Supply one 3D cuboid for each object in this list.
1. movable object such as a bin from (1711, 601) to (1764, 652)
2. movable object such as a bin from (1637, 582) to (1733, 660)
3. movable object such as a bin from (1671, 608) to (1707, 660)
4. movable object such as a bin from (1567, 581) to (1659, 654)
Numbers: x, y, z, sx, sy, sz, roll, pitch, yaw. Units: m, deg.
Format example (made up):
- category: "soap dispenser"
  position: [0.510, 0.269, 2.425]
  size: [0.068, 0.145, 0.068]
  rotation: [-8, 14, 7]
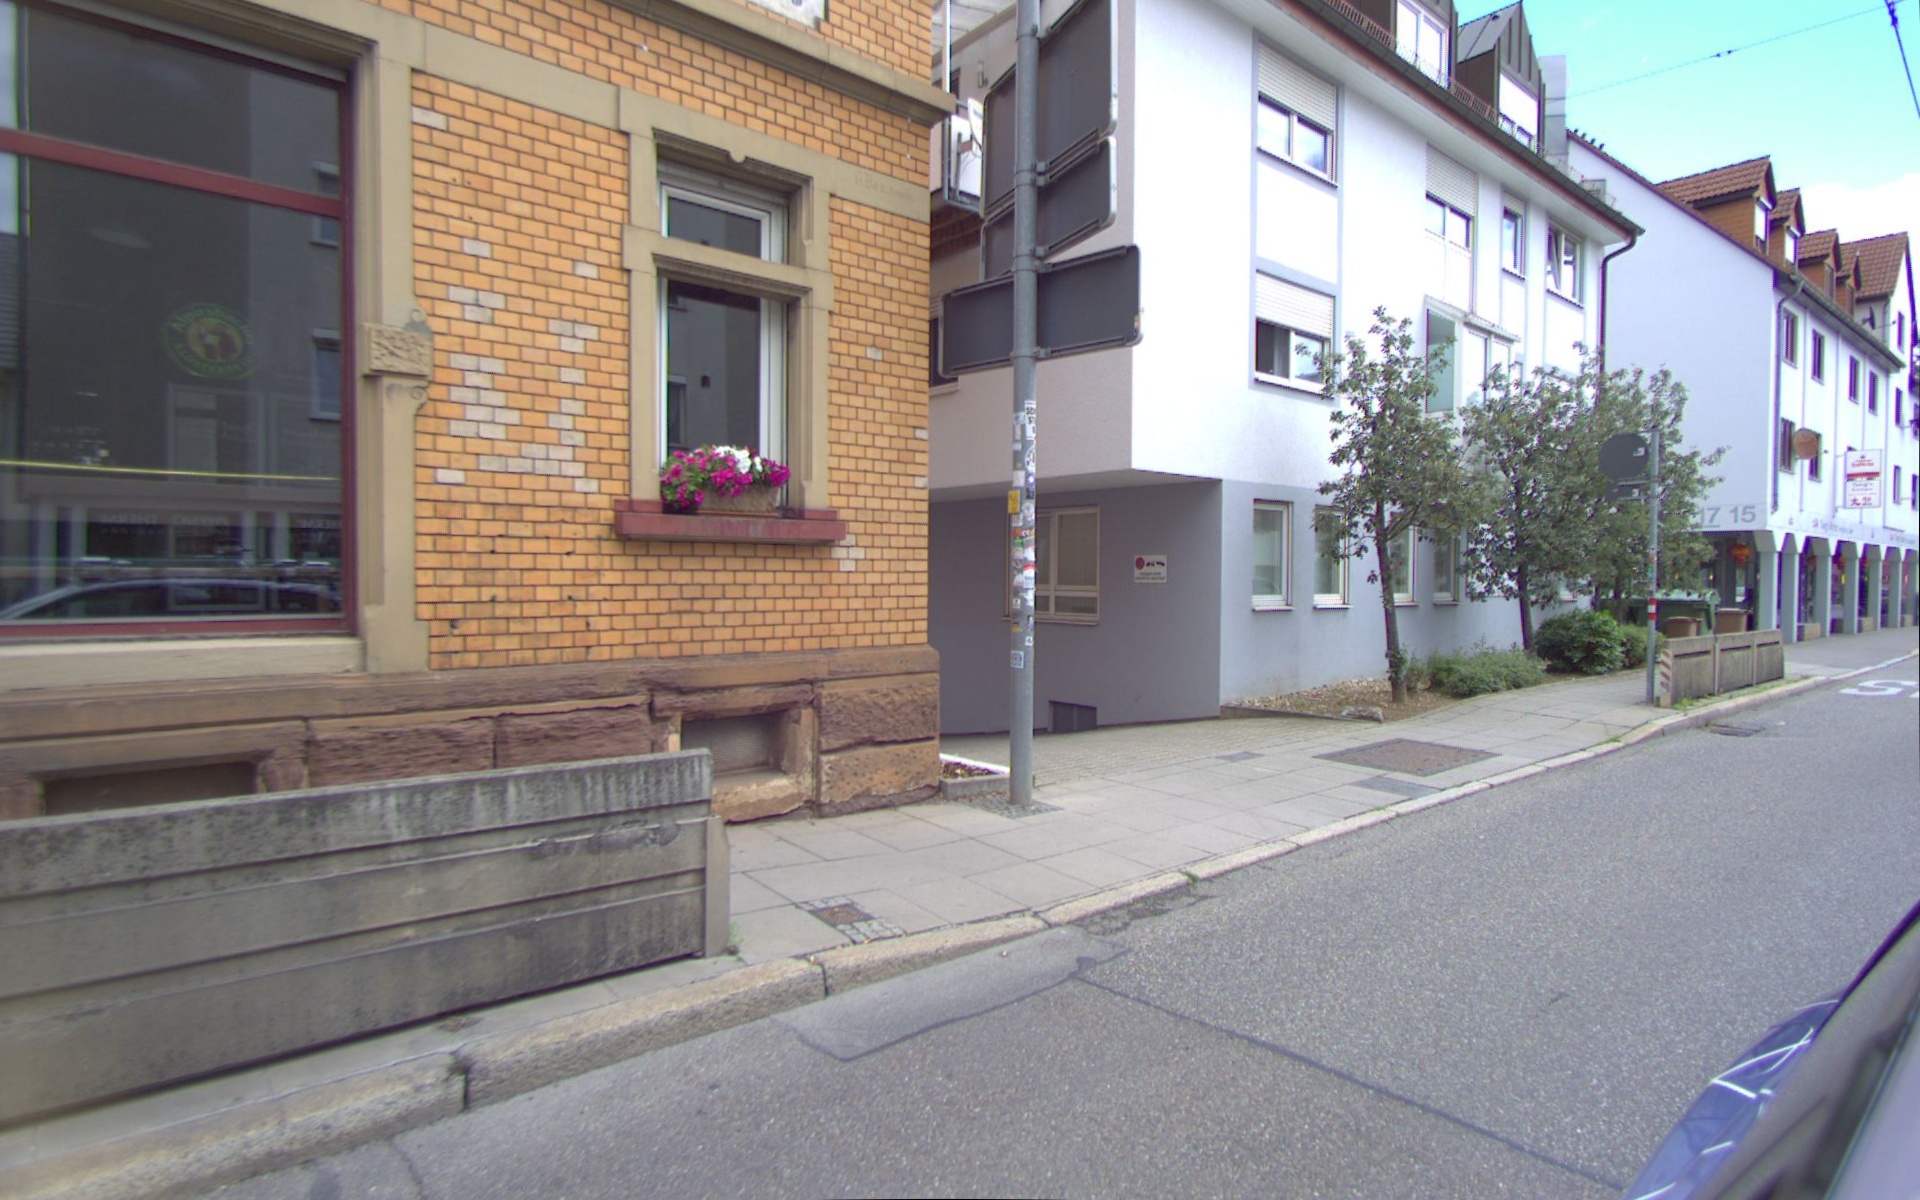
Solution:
- category: "movable object such as a bin"
  position: [17.089, 0.569, 22.238]
  size: [0.953, 1.080, 0.685]
  rotation: [0, 1, -36]
- category: "movable object such as a bin"
  position: [14.147, 0.376, 19.751]
  size: [1.141, 1.435, 1.270]
  rotation: [0, 1, -40]
- category: "movable object such as a bin"
  position: [13.706, 0.628, 19.028]
  size: [0.457, 0.932, 0.431]
  rotation: [0, 1, -40]
- category: "movable object such as a bin"
  position: [13.583, 0.336, 21.053]
  size: [1.284, 1.453, 1.270]
  rotation: [0, 1, -40]
